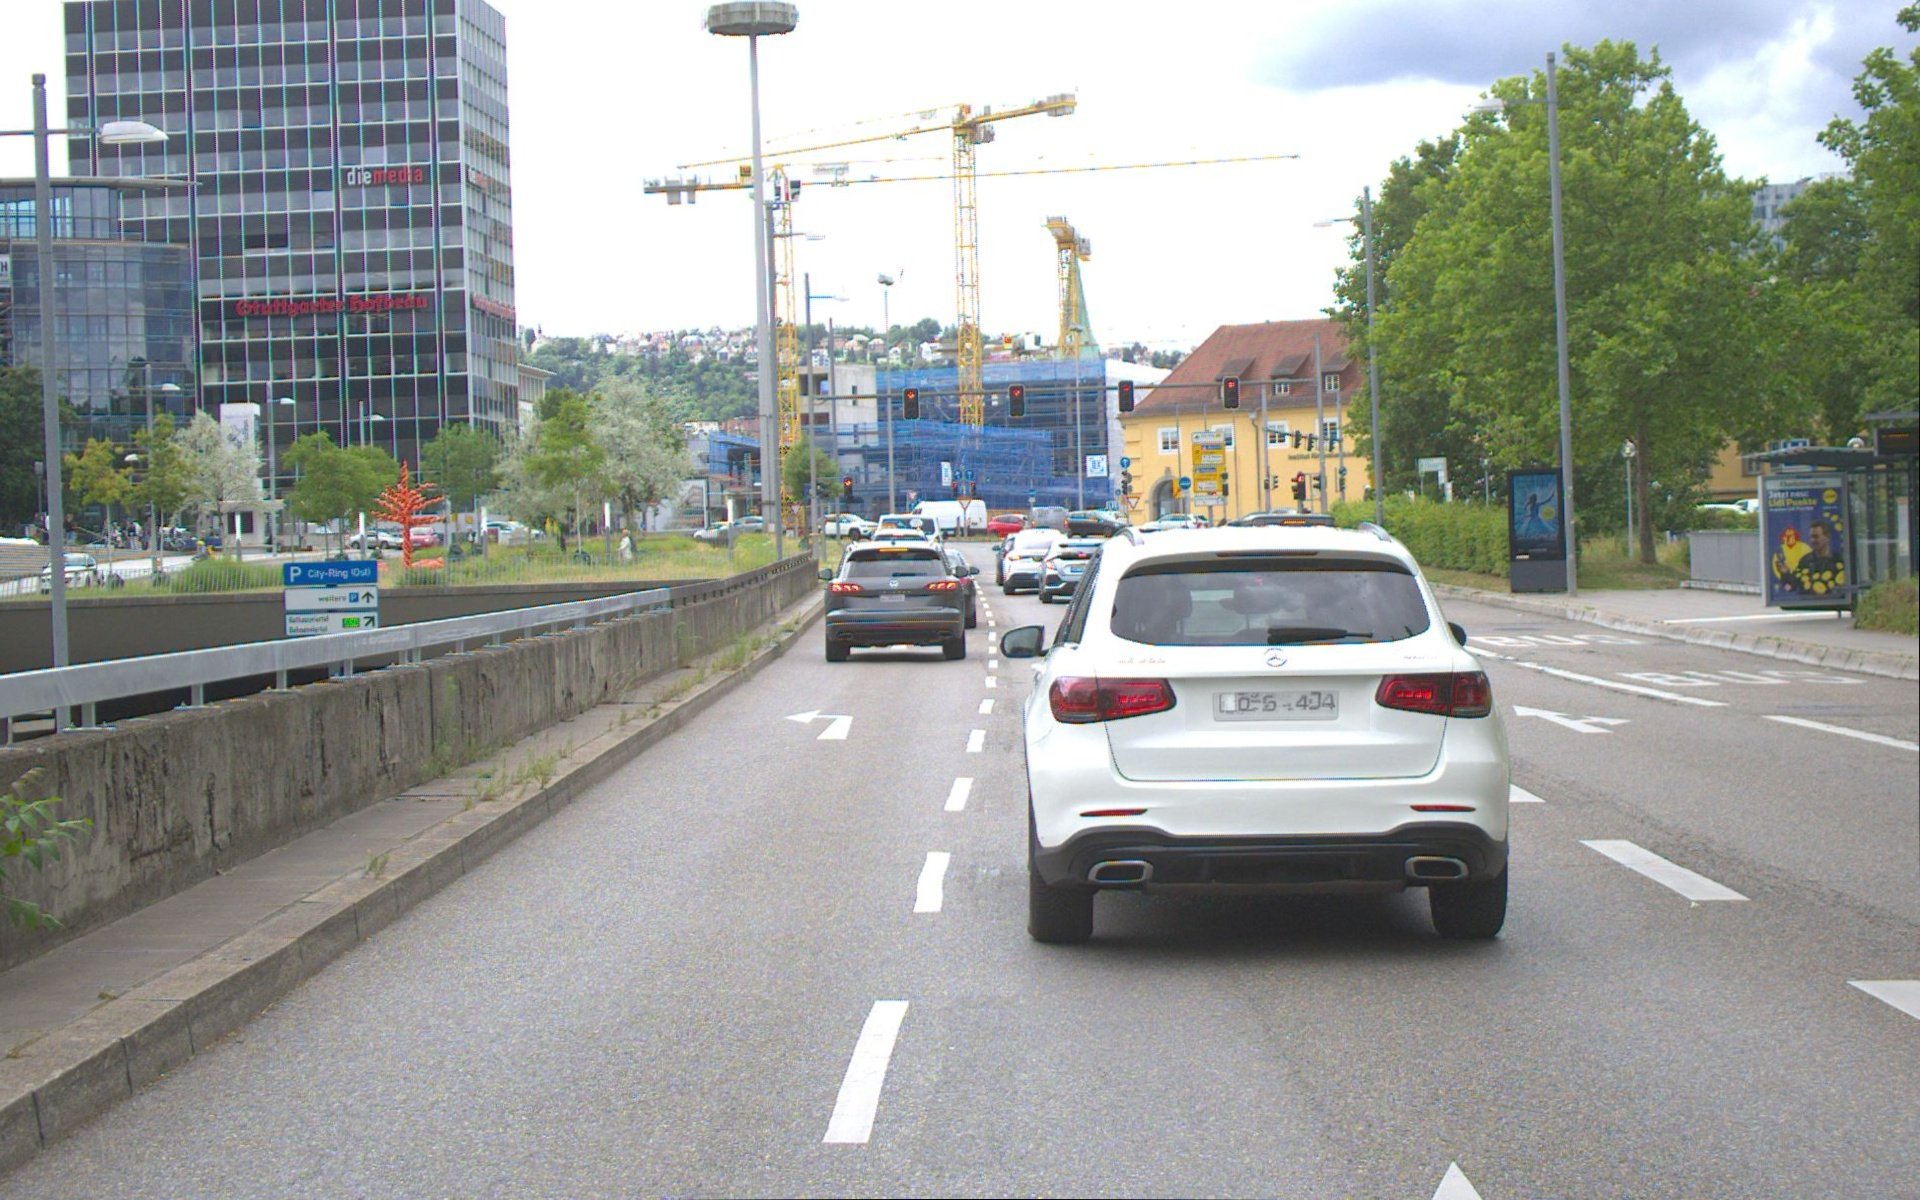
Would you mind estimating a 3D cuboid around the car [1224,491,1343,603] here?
[{"bbox_3d":[5.999,-0.997,64.103,1.788,2.007,4.000,0,1,0],"label":"car"}]

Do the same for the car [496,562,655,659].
[{"bbox_3d":[-5.426,0.123,48.940,1.719,1.288,4.000,1,1,1],"label":"car"}]

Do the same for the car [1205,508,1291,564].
[{"bbox_3d":[8.850,-1.956,105.845,1.993,1.612,4.001,1,0,-5],"label":"car"}]

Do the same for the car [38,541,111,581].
[{"bbox_3d":[-32.899,-1.441,127.807,1.809,1.422,3.707,1,0,-1],"label":"car"}]

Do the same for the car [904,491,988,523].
[{"bbox_3d":[-0.920,-6.051,223.893,5.282,2.053,1.870,1,0,35],"label":"car"}]

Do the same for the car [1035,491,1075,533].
[{"bbox_3d":[4.728,-4.360,170.933,1.800,2.007,4.000,1,0,0],"label":"car"}]

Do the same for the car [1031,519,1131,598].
[{"bbox_3d":[2.624,-0.894,75.329,1.993,1.656,4.000,1,0,0],"label":"car"}]

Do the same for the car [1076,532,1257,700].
[{"bbox_3d":[2.091,0.142,35.691,1.672,1.622,4.000,1,0,1],"label":"car"}]

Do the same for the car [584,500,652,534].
[{"bbox_3d":[-21.832,-5.297,219.559,3.986,2.007,2.001,1,0,-17],"label":"car"}]

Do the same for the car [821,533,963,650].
[{"bbox_3d":[-0.949,-0.156,48.964,1.922,1.596,4.000,0,1,0],"label":"car"}]

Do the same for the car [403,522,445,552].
[{"bbox_3d":[-30.702,-3.591,196.896,1.867,1.612,3.481,1,0,0],"label":"car"}]

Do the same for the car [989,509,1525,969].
[{"bbox_3d":[1.100,0.501,14.556,1.940,1.678,4.000,0,0,0],"label":"car"}]

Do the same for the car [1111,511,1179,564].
[{"bbox_3d":[5.678,-1.929,105.780,1.719,1.579,4.000,1,1,-2],"label":"car"}]

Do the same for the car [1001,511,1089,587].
[{"bbox_3d":[2.042,-1.218,83.965,1.993,1.774,4.000,1,0,0],"label":"car"}]

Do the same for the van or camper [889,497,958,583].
[{"bbox_3d":[-1.028,-1.682,98.183,1.922,2.312,4.000,0,-1,0],"label":"van or camper"}]
